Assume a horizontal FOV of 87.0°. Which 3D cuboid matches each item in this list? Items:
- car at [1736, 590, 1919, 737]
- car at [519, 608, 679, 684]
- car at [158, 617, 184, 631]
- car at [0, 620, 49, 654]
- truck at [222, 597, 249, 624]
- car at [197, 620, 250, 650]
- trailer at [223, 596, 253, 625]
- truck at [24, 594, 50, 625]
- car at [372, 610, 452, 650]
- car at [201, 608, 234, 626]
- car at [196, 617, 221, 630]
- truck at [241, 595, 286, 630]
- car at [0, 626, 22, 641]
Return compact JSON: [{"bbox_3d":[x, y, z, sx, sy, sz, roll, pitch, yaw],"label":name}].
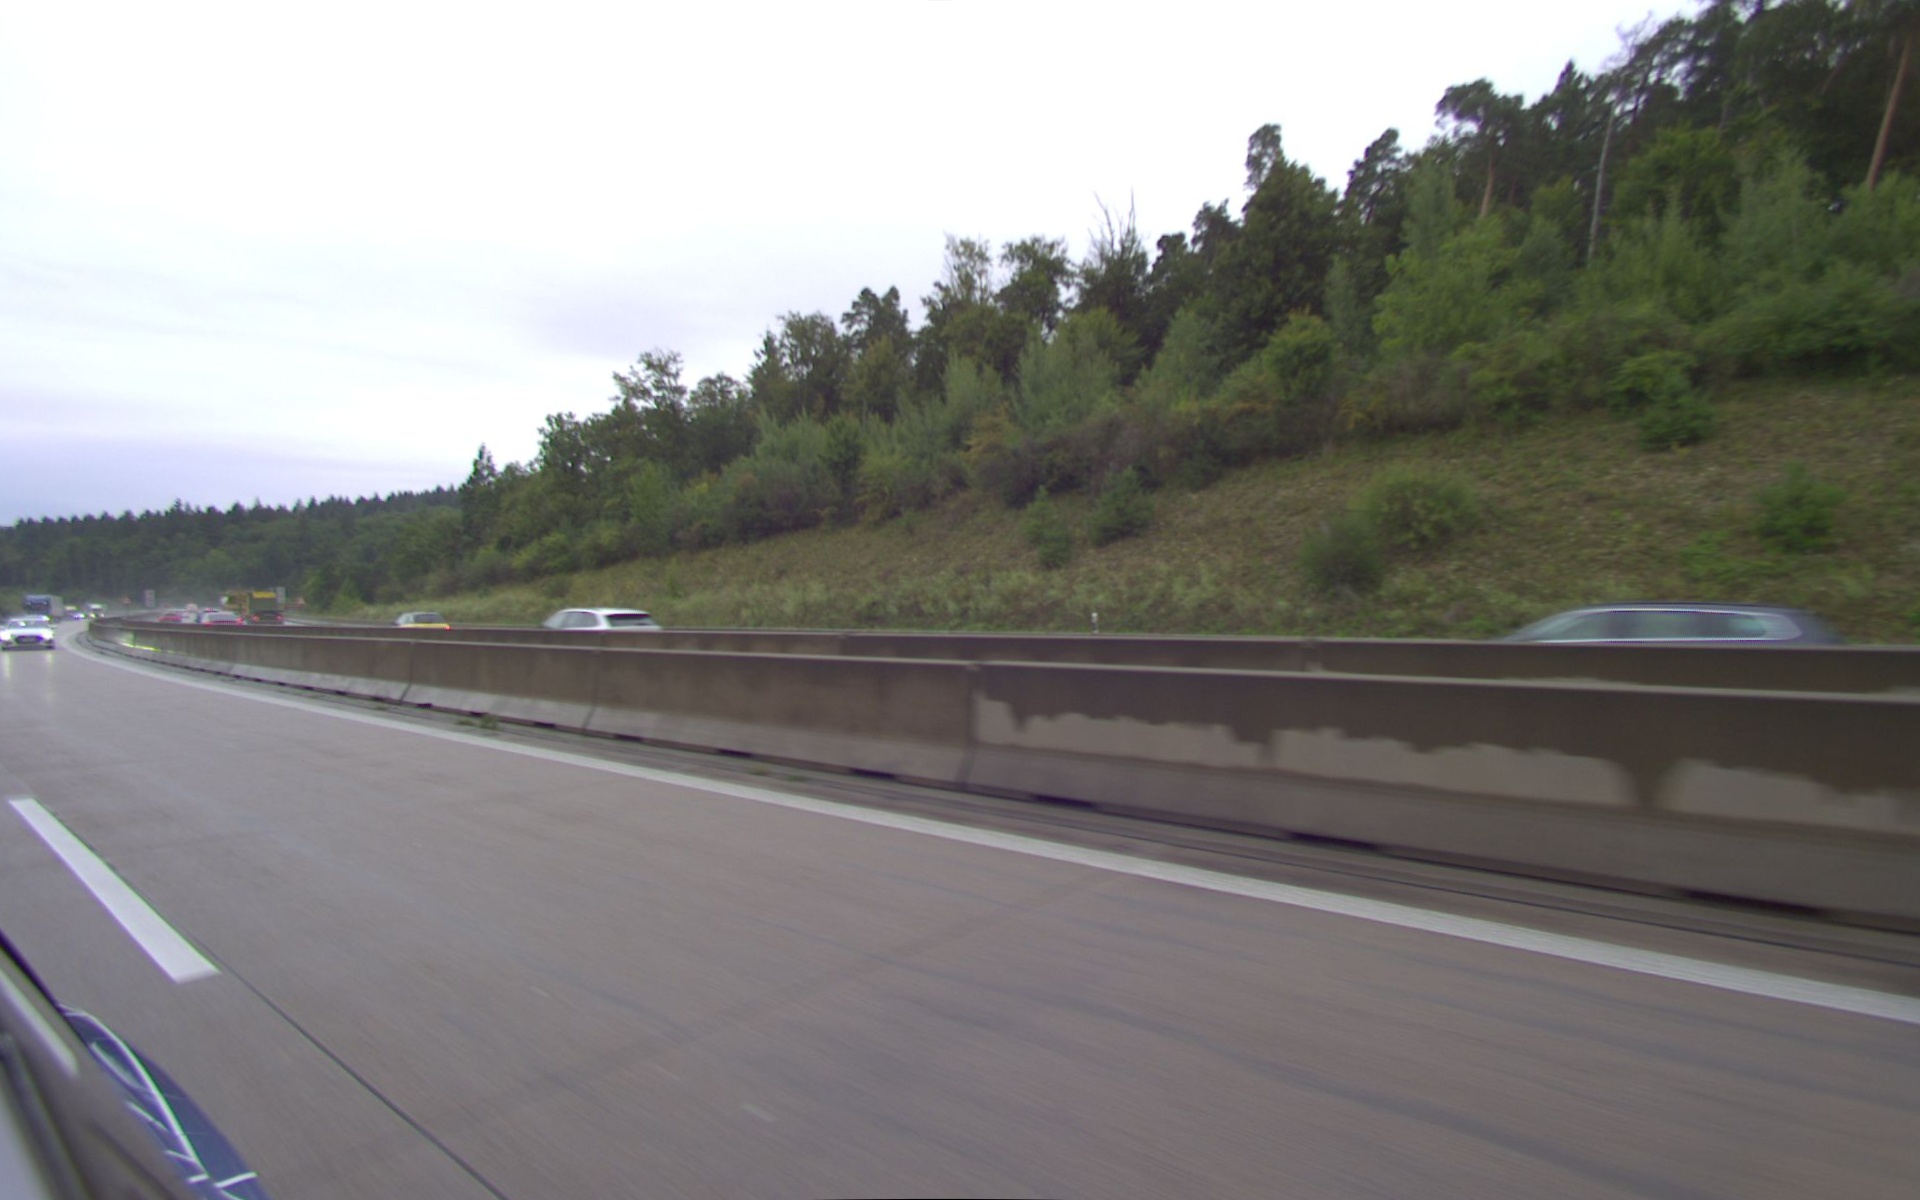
[{"bbox_3d":[10.792,0.639,10.483,4.281,1.498,1.558,-2,-1,41],"label":"car"},{"bbox_3d":[-8.357,0.992,23.256,4.284,1.573,1.722,-1,-1,43],"label":"car"},{"bbox_3d":[-77.100,2.320,98.862,1.634,1.356,4.090,-1,0,-43],"label":"car"},{"bbox_3d":[-42.417,1.672,45.776,1.692,1.417,4.940,-1,-1,-43],"label":"car"},{"bbox_3d":[-108.597,1.588,151.619,2.987,3.904,8.134,-1,0,-37],"label":"truck"},{"bbox_3d":[-41.538,1.947,57.038,1.843,1.560,4.003,0,-1,-44],"label":"car"},{"bbox_3d":[-103.967,1.488,145.630,2.975,3.904,13.729,-1,0,-38],"label":"trailer"},{"bbox_3d":[-131.507,1.323,144.228,2.698,4.183,8.631,-1,-1,-42],"label":"truck"},{"bbox_3d":[-23.101,1.248,42.622,4.284,1.573,1.722,-1,-1,43],"label":"car"},{"bbox_3d":[-57.960,1.302,78.991,1.633,1.356,4.091,-1,0,-42],"label":"car"},{"bbox_3d":[-78.857,2.453,106.149,1.782,1.356,4.773,-1,0,-41],"label":"car"},{"bbox_3d":[-69.054,1.241,100.266,2.589,3.321,9.395,0,-1,-41],"label":"truck"},{"bbox_3d":[-91.306,3.228,97.056,1.690,1.417,4.944,-1,-1,-39],"label":"car"}]
